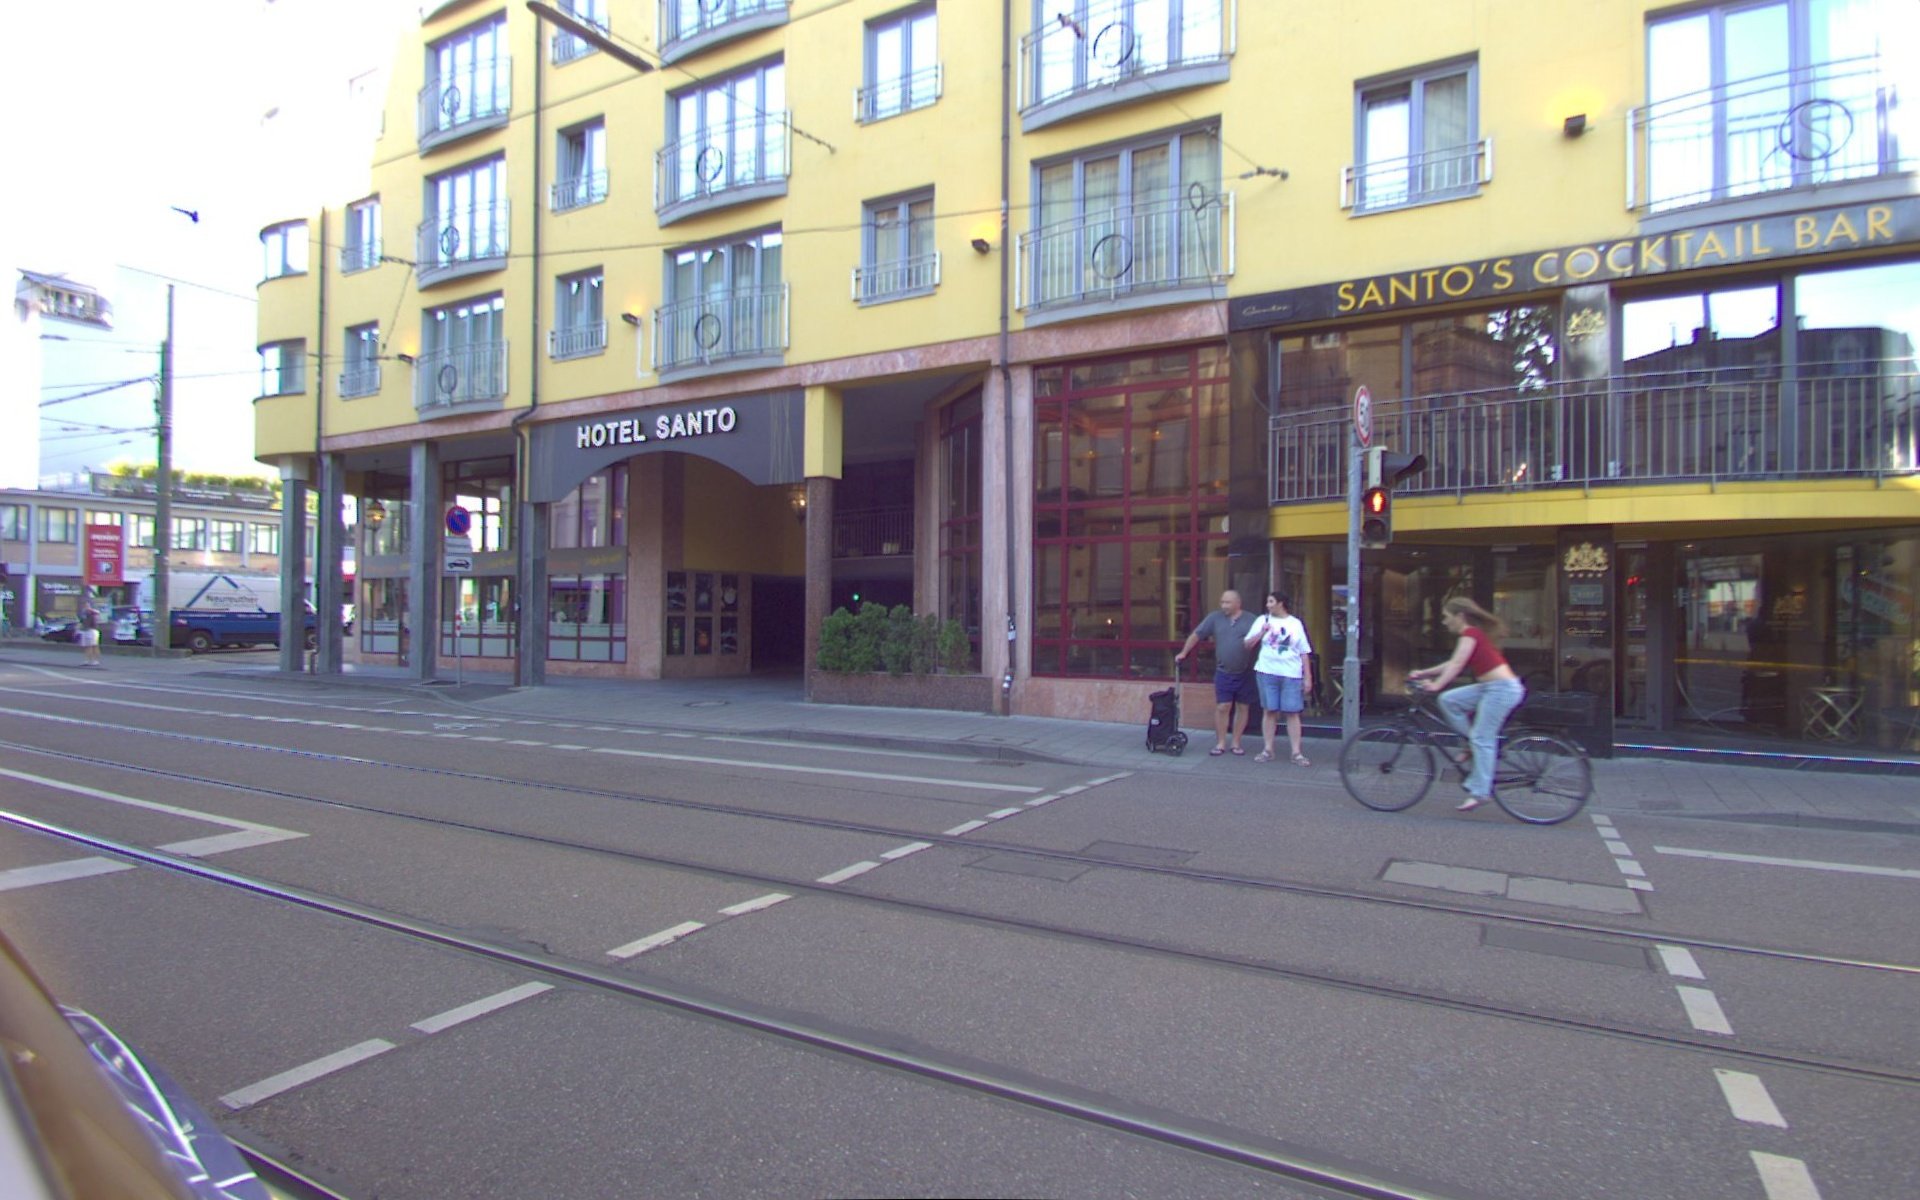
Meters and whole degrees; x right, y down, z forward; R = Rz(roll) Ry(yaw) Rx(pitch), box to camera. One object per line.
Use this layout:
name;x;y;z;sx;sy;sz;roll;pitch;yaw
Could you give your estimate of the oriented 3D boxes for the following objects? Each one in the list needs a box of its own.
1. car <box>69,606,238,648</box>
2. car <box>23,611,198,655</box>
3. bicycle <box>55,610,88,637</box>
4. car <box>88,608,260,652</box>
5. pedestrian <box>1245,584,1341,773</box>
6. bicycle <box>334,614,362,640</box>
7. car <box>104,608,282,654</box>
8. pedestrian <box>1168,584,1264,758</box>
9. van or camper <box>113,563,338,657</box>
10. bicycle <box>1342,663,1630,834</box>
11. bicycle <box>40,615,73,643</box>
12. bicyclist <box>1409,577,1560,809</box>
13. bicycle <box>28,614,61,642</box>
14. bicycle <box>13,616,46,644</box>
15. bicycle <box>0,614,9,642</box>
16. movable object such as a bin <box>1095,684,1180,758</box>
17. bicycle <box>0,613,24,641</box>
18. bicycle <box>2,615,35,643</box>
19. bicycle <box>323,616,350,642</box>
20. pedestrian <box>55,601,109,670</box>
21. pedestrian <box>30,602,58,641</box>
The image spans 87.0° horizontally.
car;-29.992;1.011;37.793;1.872;1.487;4.556;-1;-2;30
car;-32.828;1.279;39.269;1.872;1.595;4.860;-1;-2;30
bicycle;-39.942;1.062;45.488;1.822;1.196;0.445;-1;-2;27
car;-28.318;1.091;36.622;1.872;1.487;4.556;-1;-2;30
pedestrian;3.523;0.781;10.663;0.750;1.832;1.036;-1;3;28
bicycle;-28.689;1.283;47.430;1.828;1.196;0.427;-1;-2;37
car;-26.397;1.066;34.997;1.872;1.487;4.556;-1;-2;30
pedestrian;2.805;0.742;11.064;0.797;1.784;0.742;-1;3;32
van or camper;-24.225;0.390;33.659;2.306;2.849;5.566;-1;-2;30
bicycle;3.994;1.080;7.806;1.889;1.117;0.692;0;-1;29
bicycle;-40.165;1.285;44.980;1.822;1.196;0.445;-1;-2;27
bicyclist;4.021;0.673;7.792;0.986;1.656;0.697;0;-1;29
bicycle;-40.399;1.229;44.669;1.822;1.196;0.445;-1;-2;27
bicycle;-40.819;1.327;44.381;1.822;1.196;0.440;-1;-2;27
bicycle;-41.377;1.190;43.187;1.820;1.196;0.443;-1;-2;24
movable object such as a bin;1.976;1.336;11.258;0.838;0.721;0.380;-1;3;31
bicycle;-40.885;1.168;43.463;1.824;1.196;0.437;-1;-2;30
bicycle;-40.847;1.248;43.910;1.822;1.196;0.445;-1;-2;27
bicycle;-28.976;1.332;47.017;1.828;1.196;0.427;-1;-2;37
pedestrian;-24.129;0.973;27.809;0.905;1.846;0.828;-1;-2;29
pedestrian;-40.319;0.946;44.555;0.680;1.710;0.676;-1;-2;28
